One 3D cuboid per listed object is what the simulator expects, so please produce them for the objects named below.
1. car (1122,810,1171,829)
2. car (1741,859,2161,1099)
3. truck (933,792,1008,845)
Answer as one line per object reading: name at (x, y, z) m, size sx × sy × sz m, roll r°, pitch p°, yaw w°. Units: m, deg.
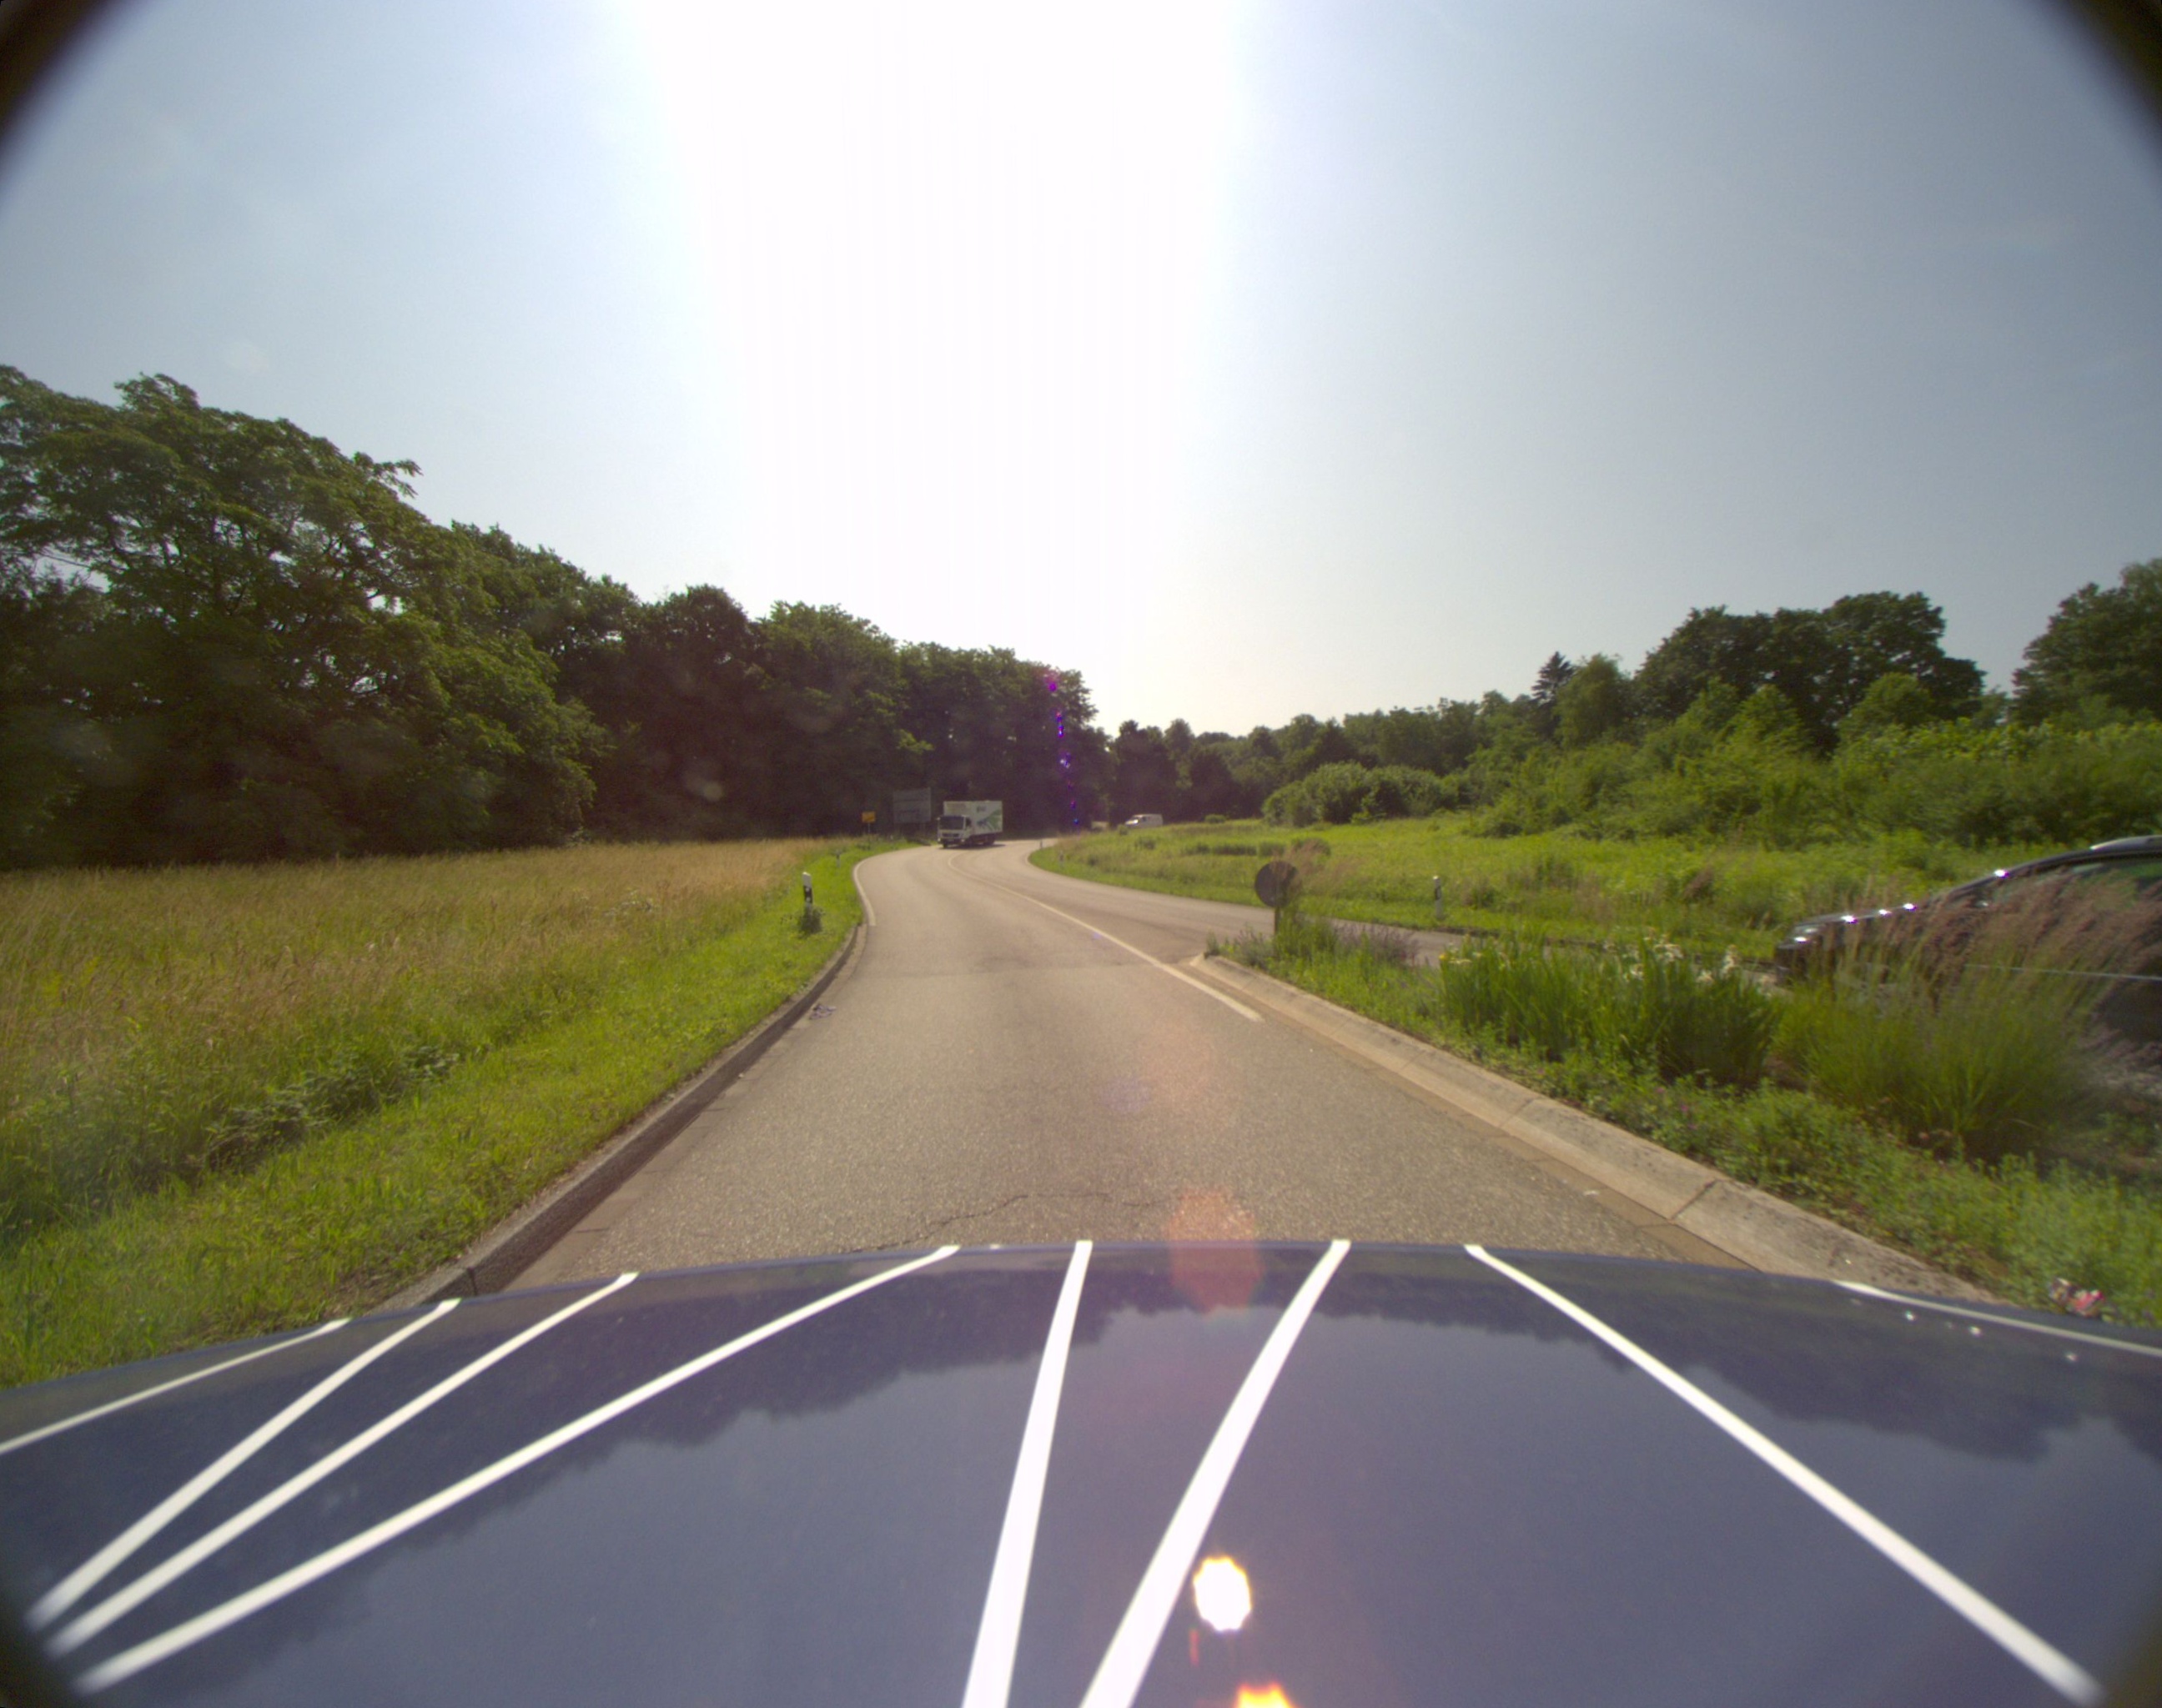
car at (7.504, -3.913, 86.865) m, size 5.612 × 2.002 × 1.995 m, roll -3°, pitch 2°, yaw -36°
car at (8.007, 0.844, 5.577) m, size 1.916 × 1.586 × 4.363 m, roll 0°, pitch 0°, yaw -28°
truck at (-8.688, -2.752, 61.182) m, size 2.895 × 3.807 × 9.029 m, roll -2°, pitch 1°, yaw 12°
